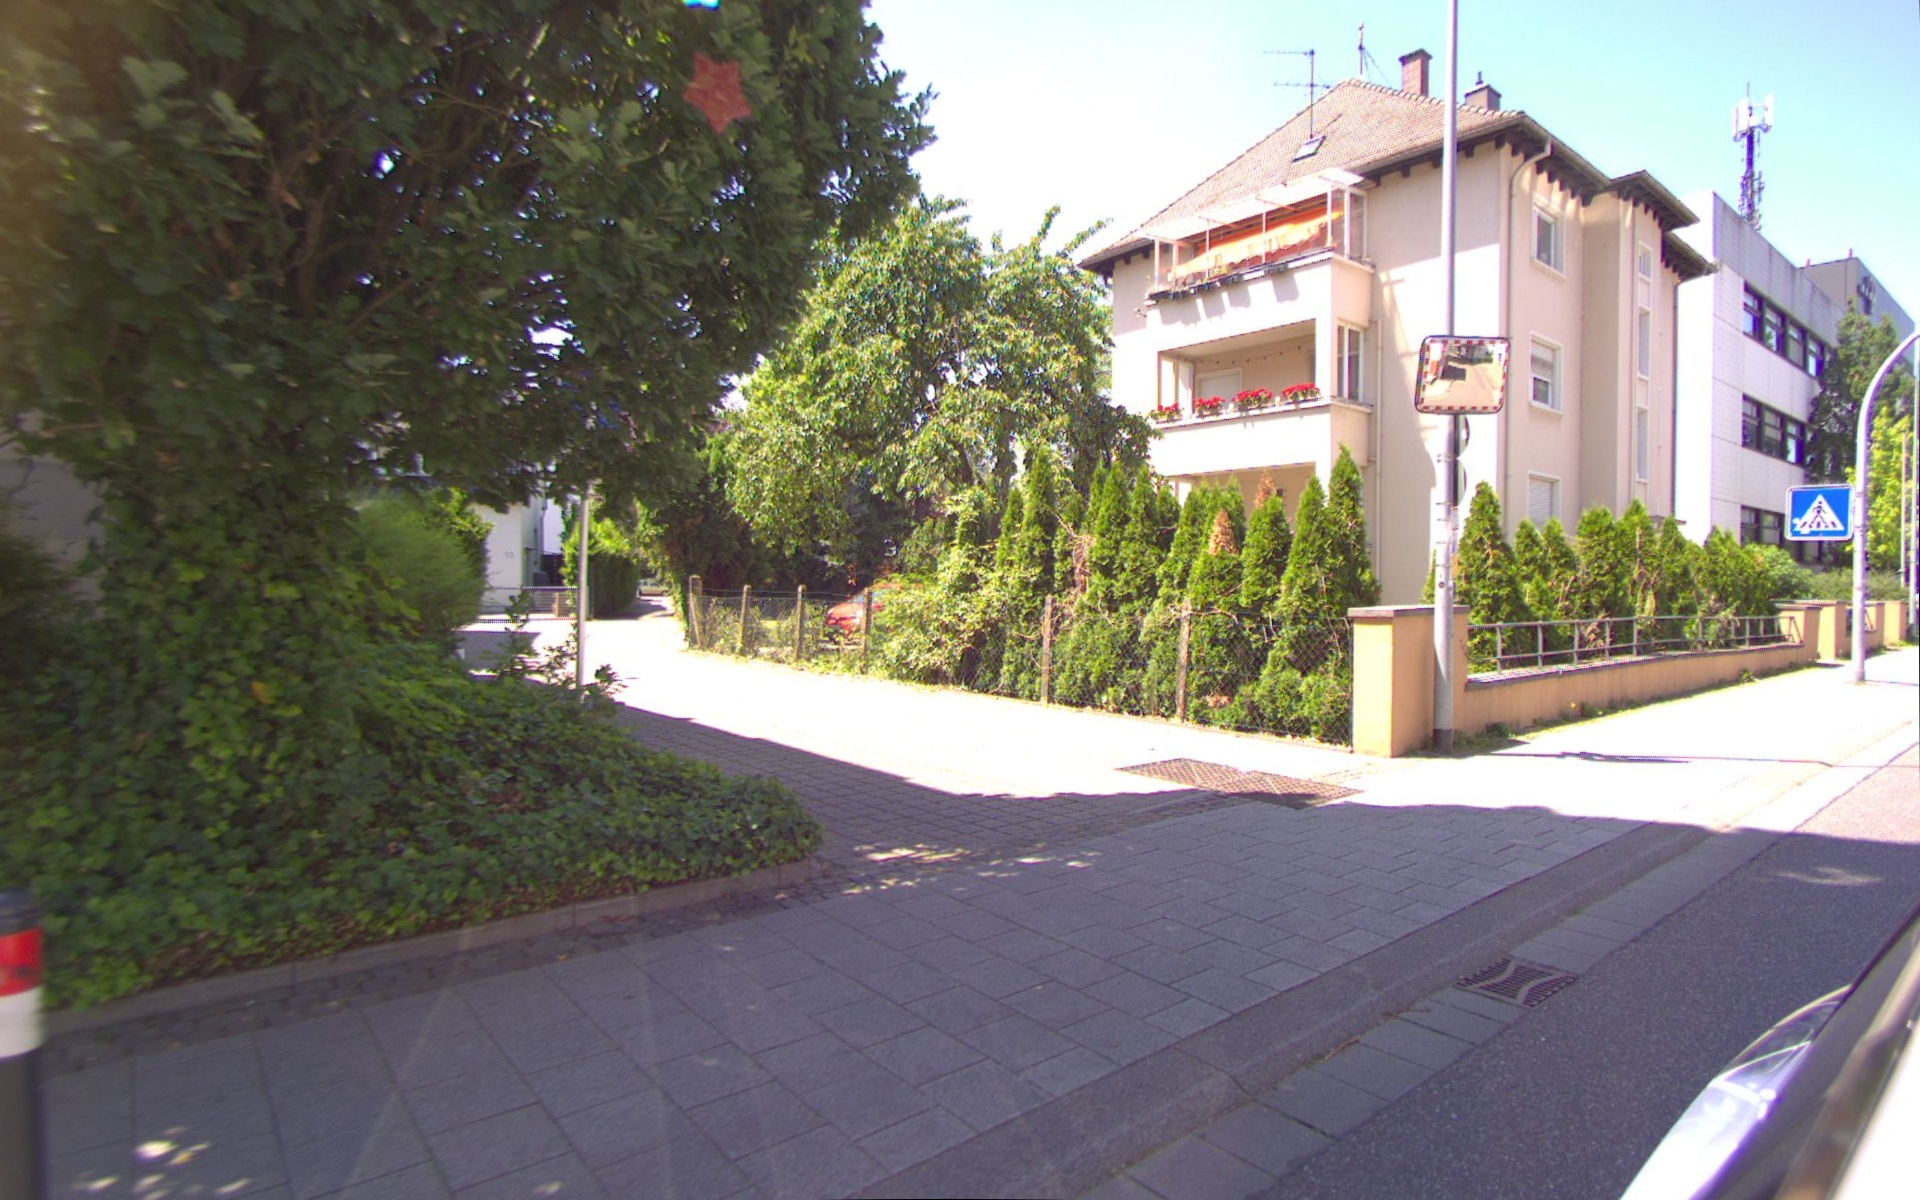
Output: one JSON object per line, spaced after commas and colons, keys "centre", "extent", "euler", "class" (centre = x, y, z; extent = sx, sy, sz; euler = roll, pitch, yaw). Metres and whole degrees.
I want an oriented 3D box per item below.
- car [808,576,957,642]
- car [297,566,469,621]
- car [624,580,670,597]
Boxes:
{"centre": [-1.844, 0.180, 24.747], "extent": [3.447, 1.477, 1.609], "euler": [-1, 1, -45], "class": "car"}
{"centre": [-16.020, -0.179, 28.340], "extent": [3.916, 1.448, 1.915], "euler": [-1, -1, -21], "class": "car"}
{"centre": [-28.272, -1.037, 91.346], "extent": [3.916, 1.500, 2.004], "euler": [-1, -1, -19], "class": "car"}
